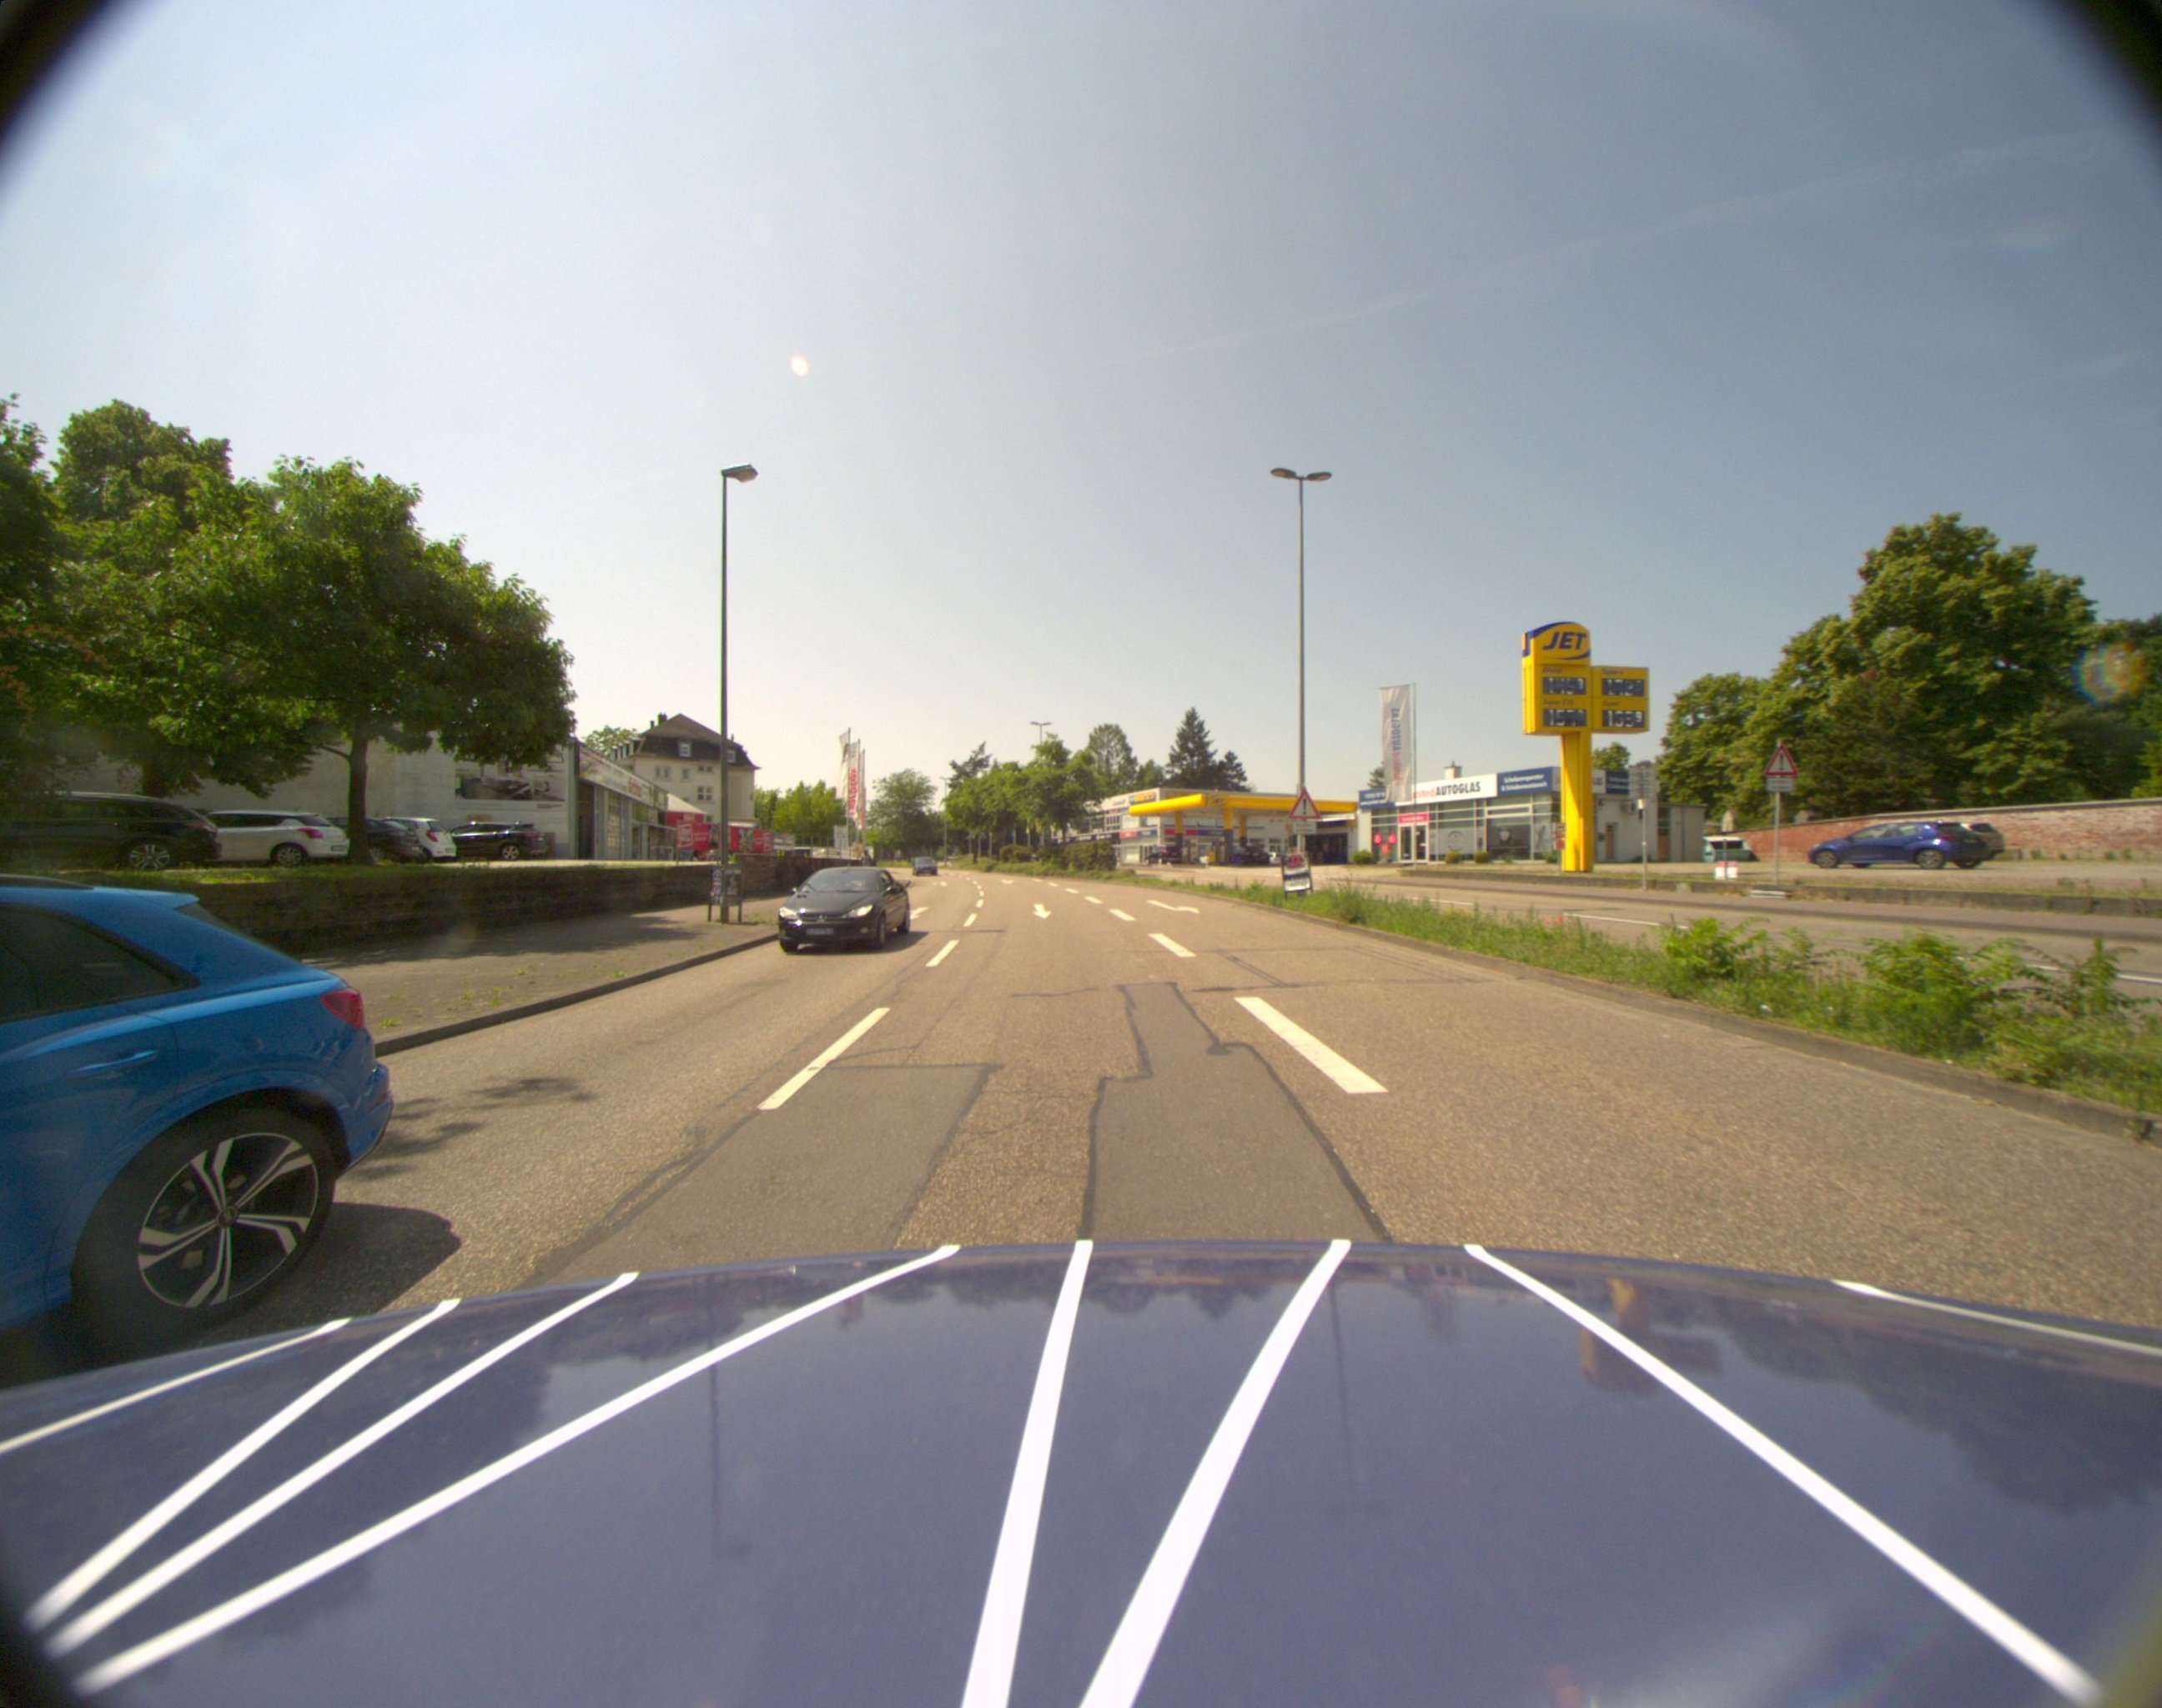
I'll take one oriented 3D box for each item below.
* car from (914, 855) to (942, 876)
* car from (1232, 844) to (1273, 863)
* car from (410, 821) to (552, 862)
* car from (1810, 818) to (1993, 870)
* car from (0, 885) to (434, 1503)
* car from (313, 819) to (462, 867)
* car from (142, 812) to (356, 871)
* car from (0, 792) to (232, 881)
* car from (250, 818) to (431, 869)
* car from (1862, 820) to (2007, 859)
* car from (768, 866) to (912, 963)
[{"bbox_3d":[-11.581,0.810,57.471,1.700,1.366,3.992,0,2,-17],"label":"car"},{"bbox_3d":[14.721,-0.027,65.440,1.657,1.534,4.207,-2,1,-15],"label":"car"},{"bbox_3d":[-23.413,-0.490,29.811,4.003,1.531,1.735,-1,1,-19],"label":"car"},{"bbox_3d":[26.090,-0.310,24.341,1.695,1.497,3.626,-1,0,-14],"label":"car"},{"bbox_3d":[-3.871,0.946,1.137,1.917,1.587,4.396,-1,0,2],"label":"car"},{"bbox_3d":[-22.106,-0.355,24.353,3.156,1.463,1.501,-1,1,-16],"label":"car"},{"bbox_3d":[-20.920,-0.319,19.264,3.293,1.403,1.528,-1,1,-19],"label":"car"},{"bbox_3d":[-18.579,-0.281,13.718,1.995,1.475,3.855,-1,1,25],"label":"car"},{"bbox_3d":[-21.243,-0.308,21.966,3.323,1.377,1.656,-1,1,-19],"label":"car"},{"bbox_3d":[34.855,-0.556,31.157,1.621,1.497,3.626,-1,0,-14],"label":"car"},{"bbox_3d":[-4.167,0.970,13.693,1.604,1.416,3.660,-2,0,-4],"label":"car"}]
